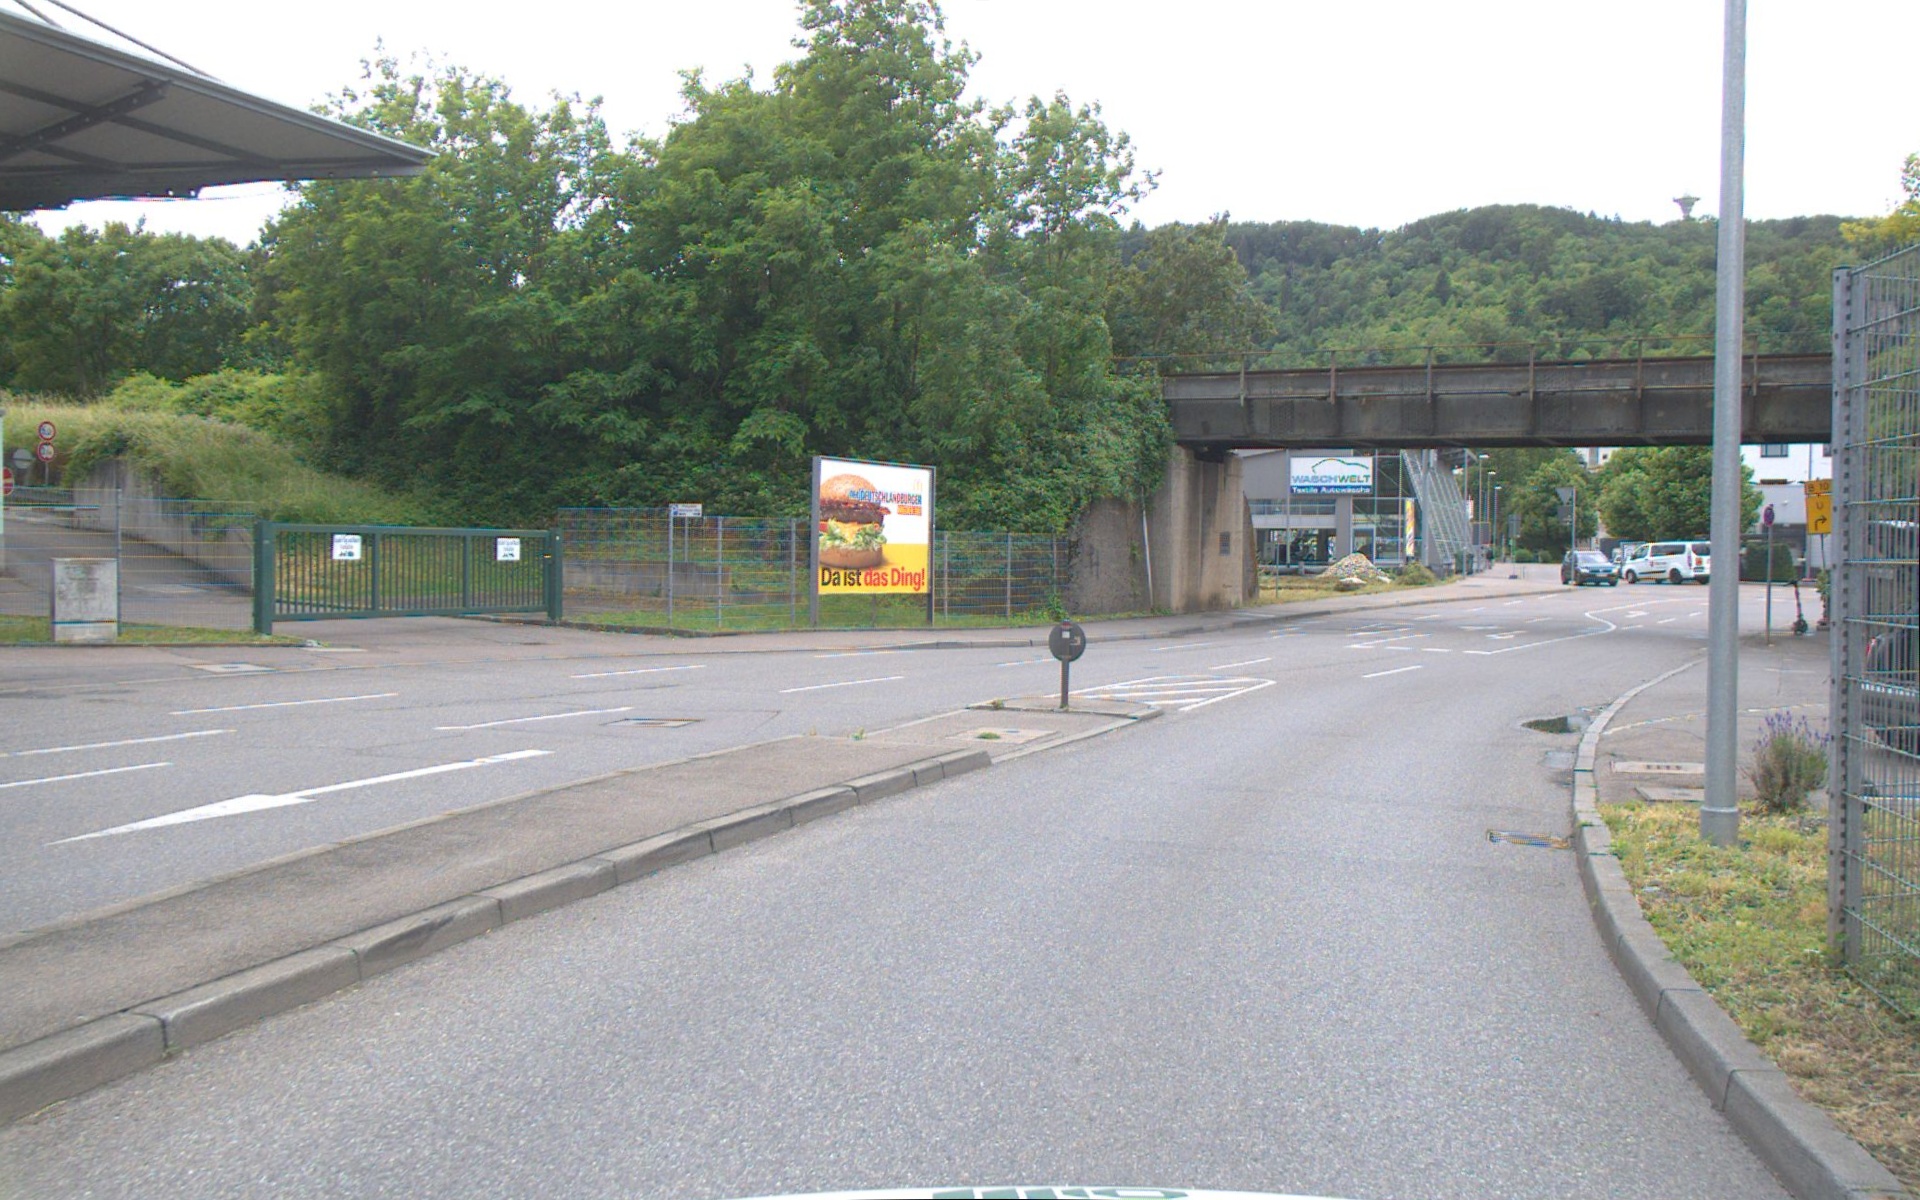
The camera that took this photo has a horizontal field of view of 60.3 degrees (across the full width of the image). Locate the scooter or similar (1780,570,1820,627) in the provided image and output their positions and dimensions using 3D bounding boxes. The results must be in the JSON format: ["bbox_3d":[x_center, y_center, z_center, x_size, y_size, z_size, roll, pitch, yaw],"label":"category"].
[{"bbox_3d":[19.523,-0.051,38.461,0.493,1.257,1.671,-3,0,17],"label":"scooter or similar"}]

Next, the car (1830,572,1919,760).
[{"bbox_3d":[9.506,0.509,13.439,3.922,1.457,1.787,0,1,5],"label":"car"}]

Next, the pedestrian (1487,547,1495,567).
[{"bbox_3d":[45.314,-3.649,141.134,0.614,1.702,0.759,1,1,17],"label":"pedestrian"}]

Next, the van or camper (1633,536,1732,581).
[{"bbox_3d":[35.161,-2.010,80.595,2.070,2.119,4.176,0,1,-23],"label":"van or camper"}]

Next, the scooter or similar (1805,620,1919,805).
[{"bbox_3d":[6.212,0.712,10.604,1.389,1.153,0.479,0,0,31],"label":"scooter or similar"}]

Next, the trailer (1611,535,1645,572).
[{"bbox_3d":[45.475,-3.200,112.686,1.952,2.384,4.002,2,3,20],"label":"trailer"}]

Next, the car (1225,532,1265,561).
[{"bbox_3d":[15.790,-2.964,91.786,1.951,1.562,4.004,1,2,6],"label":"car"}]

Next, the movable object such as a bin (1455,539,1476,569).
[{"bbox_3d":[31.276,-2.837,102.308,1.119,1.787,1.059,1,1,23],"label":"movable object such as a bin"}]

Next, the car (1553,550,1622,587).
[{"bbox_3d":[30.311,-1.513,80.051,1.951,1.713,4.374,1,1,4],"label":"car"}]
